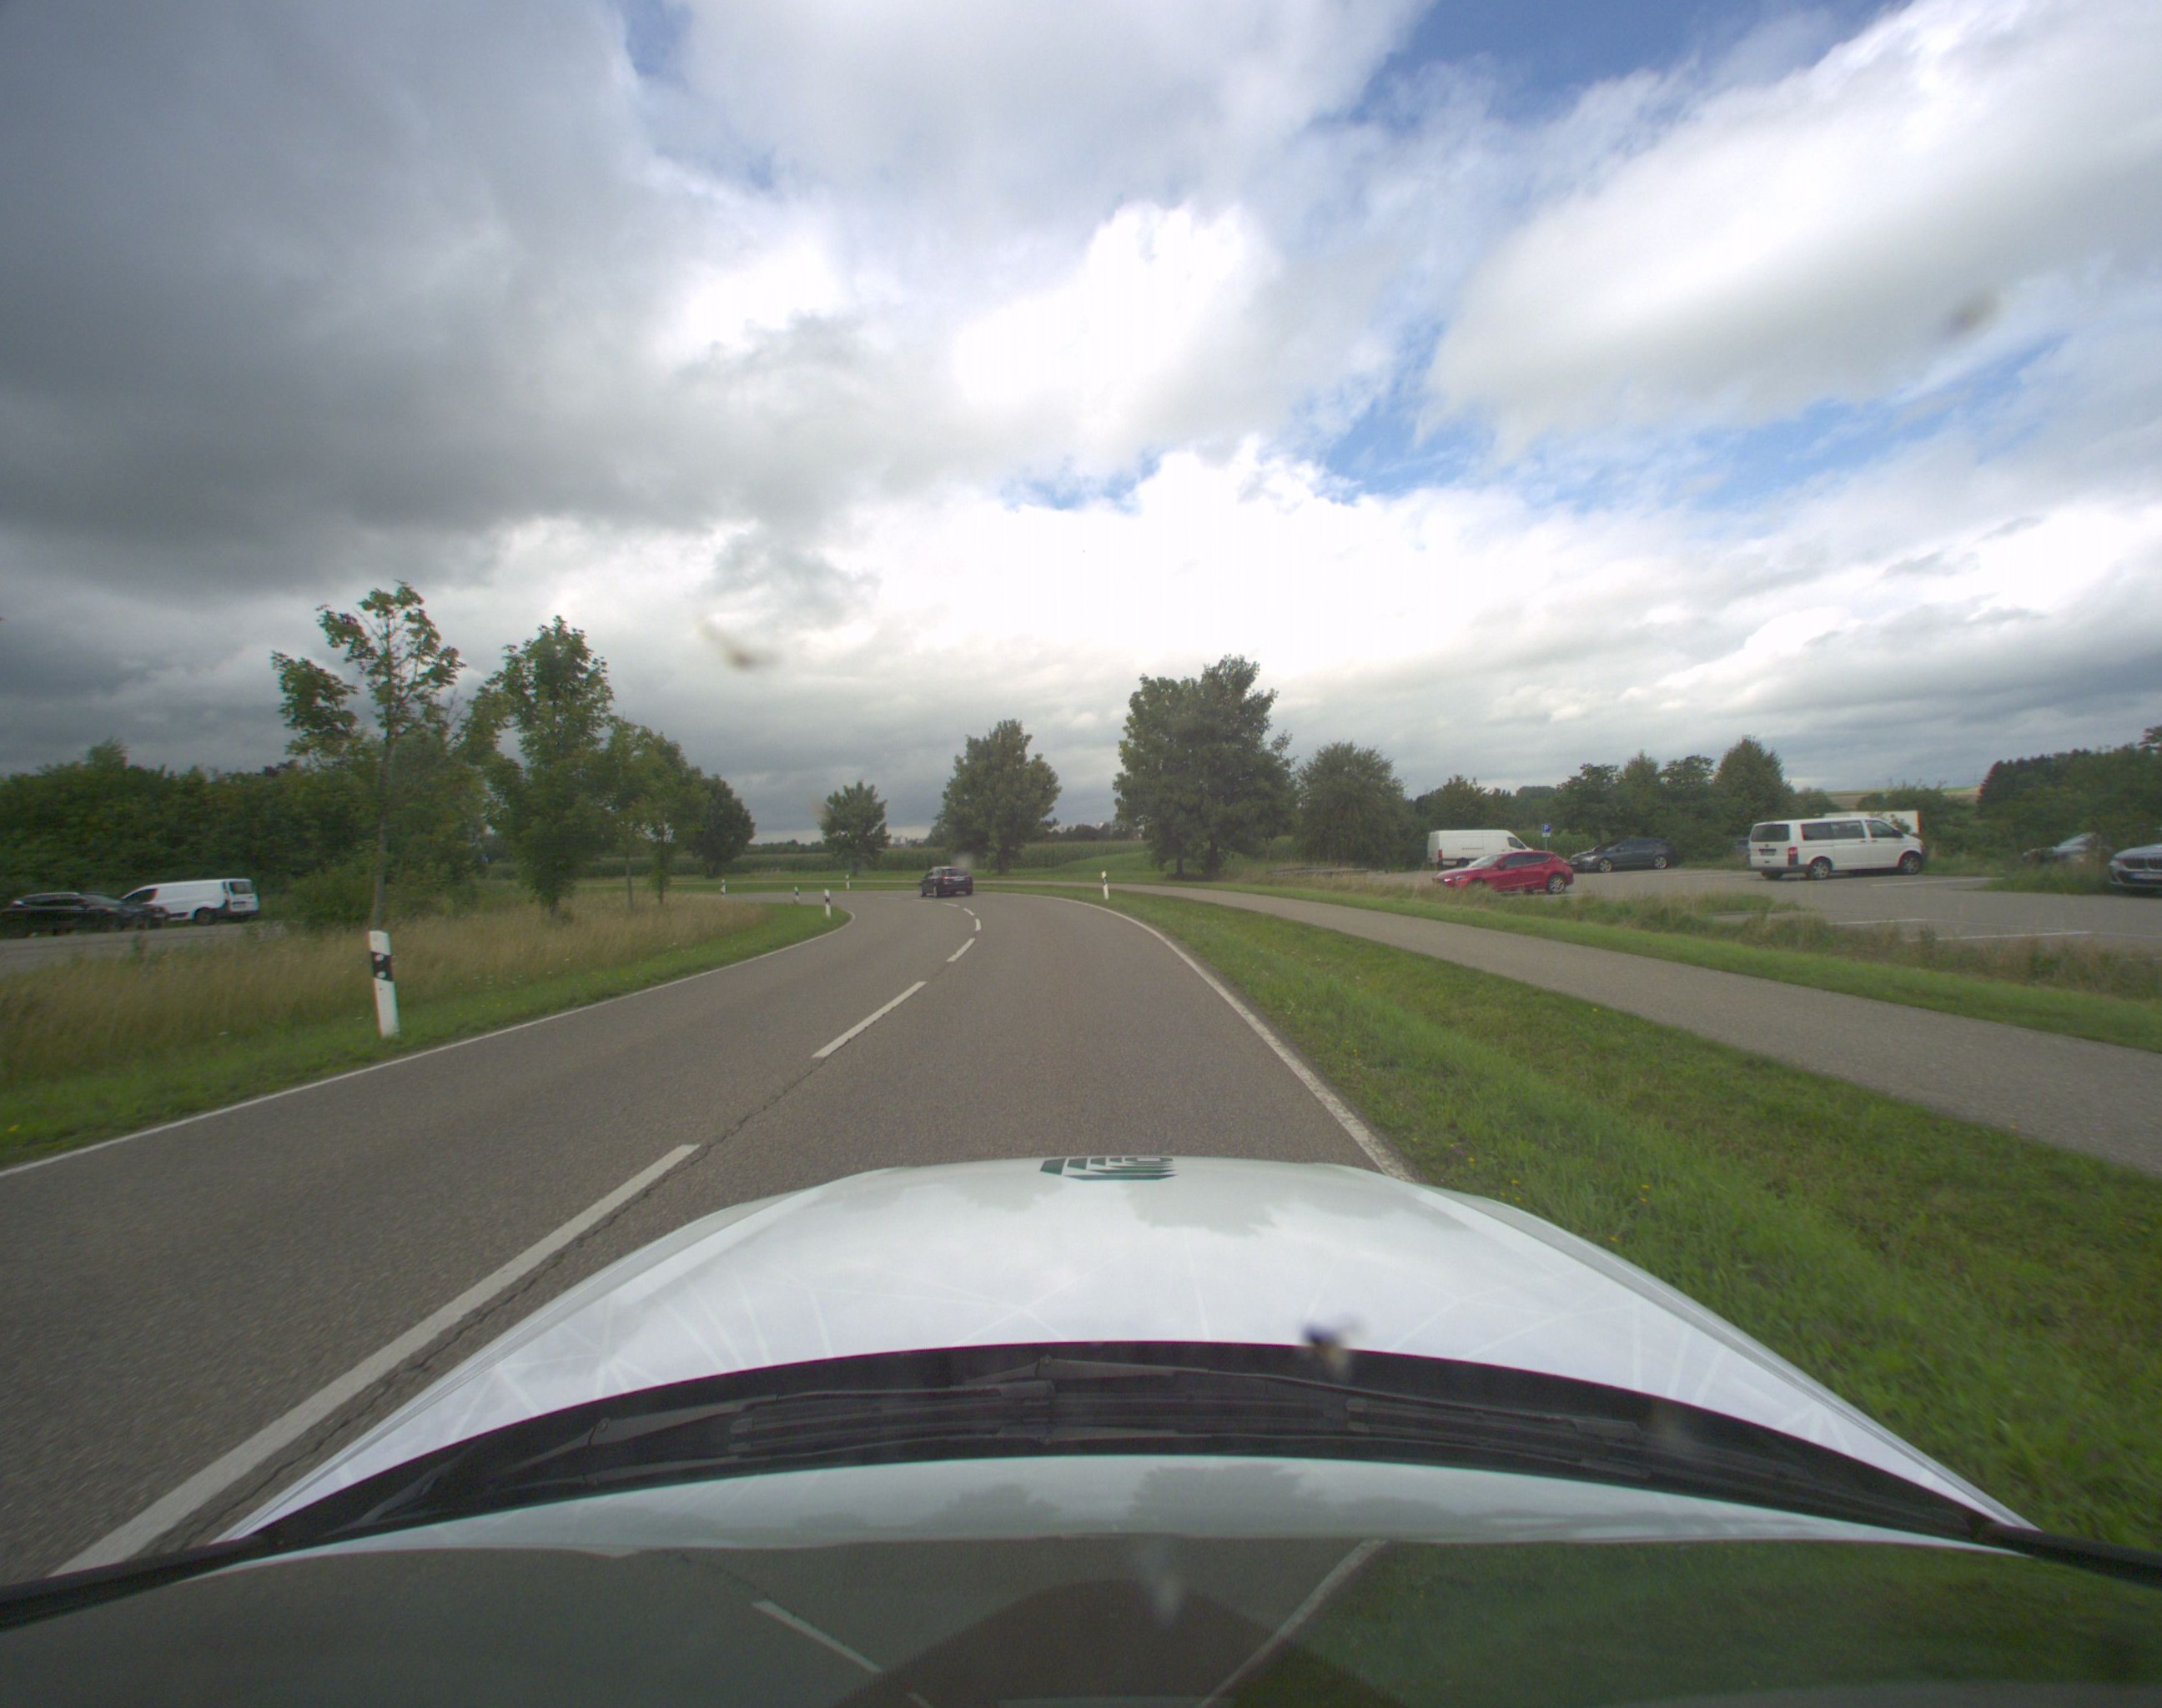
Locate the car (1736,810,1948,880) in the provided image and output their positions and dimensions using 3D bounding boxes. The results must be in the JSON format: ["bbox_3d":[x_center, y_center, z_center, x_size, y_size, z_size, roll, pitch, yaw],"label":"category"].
[{"bbox_3d":[24.993,-0.292,26.888,5.015,2.000,2.229,-3,0,-3],"label":"car"}]

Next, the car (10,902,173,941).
[{"bbox_3d":[-35.767,2.416,29.533,3.614,1.167,1.325,-1,0,-17],"label":"car"}]

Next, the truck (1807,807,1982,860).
[{"bbox_3d":[44.615,-1.092,44.809,6.858,2.715,2.831,-1,0,0],"label":"truck"}]

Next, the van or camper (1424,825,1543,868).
[{"bbox_3d":[26.238,-0.474,53.191,6.718,2.562,2.049,-1,0,1],"label":"van or camper"}]

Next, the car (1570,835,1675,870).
[{"bbox_3d":[24.504,-0.069,36.914,3.614,1.440,1.706,-1,0,0],"label":"car"}]

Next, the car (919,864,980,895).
[{"bbox_3d":[-6.517,1.215,39.948,1.851,1.417,3.965,-1,0,-27],"label":"car"}]

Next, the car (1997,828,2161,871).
[{"bbox_3d":[30.536,-0.151,24.452,3.978,1.167,1.998,-1,0,-3],"label":"car"}]

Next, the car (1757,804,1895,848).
[{"bbox_3d":[29.469,-1.080,32.255,3.986,1.596,1.994,-1,0,-9],"label":"car"}]

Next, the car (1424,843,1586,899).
[{"bbox_3d":[13.958,0.537,26.965,4.319,1.575,1.969,-3,0,-3],"label":"car"}]

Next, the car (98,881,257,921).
[{"bbox_3d":[-36.085,1.855,32.649,3.999,1.380,1.466,-1,0,-19],"label":"car"}]

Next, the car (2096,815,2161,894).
[{"bbox_3d":[23.931,-0.032,16.856,3.675,1.607,1.759,-1,0,0],"label":"car"}]
